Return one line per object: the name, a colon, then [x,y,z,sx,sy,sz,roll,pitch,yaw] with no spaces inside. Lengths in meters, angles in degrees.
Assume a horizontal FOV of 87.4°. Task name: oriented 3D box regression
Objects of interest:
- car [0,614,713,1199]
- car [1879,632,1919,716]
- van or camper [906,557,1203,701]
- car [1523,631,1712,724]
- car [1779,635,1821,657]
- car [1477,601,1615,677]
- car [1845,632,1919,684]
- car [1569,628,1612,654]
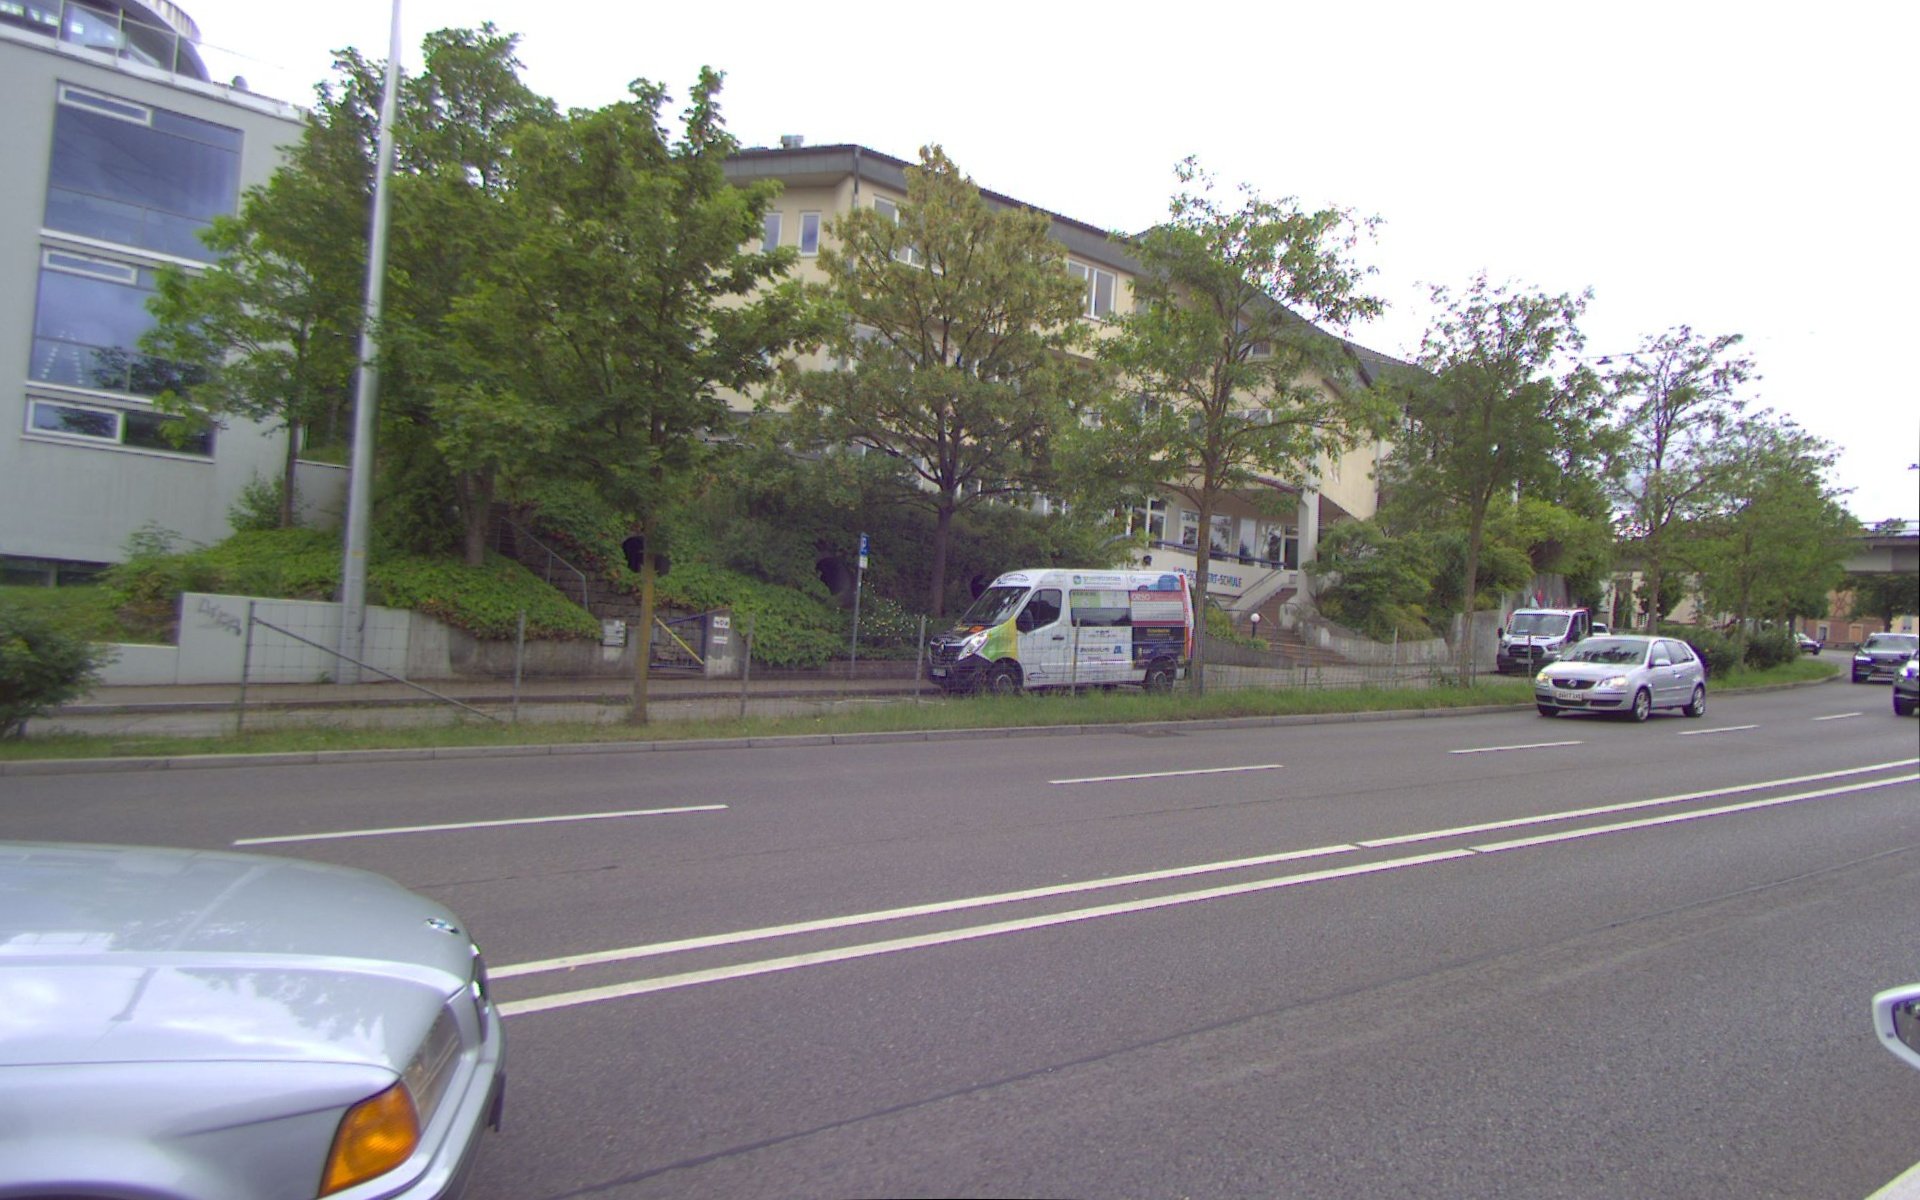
car: [-2.821,0.717,1.317,4.567,1.401,1.626,2,0,-31]
car: [19.811,1.442,19.766,4.036,1.559,1.773,2,-1,-36]
van or camper: [1.924,0.602,19.686,5.640,2.505,1.985,2,-1,-29]
car: [11.877,1.325,18.073,3.853,1.450,1.555,2,0,-36]
car: [58.290,3.172,69.774,1.711,1.433,4.418,0,-2,33]
car: [19.627,1.295,33.469,6.282,2.303,2.246,2,-2,-43]
car: [30.861,1.873,33.437,4.438,1.596,1.768,2,-2,-44]
car: [47.264,3.039,75.384,1.737,1.809,4.466,0,-1,18]
